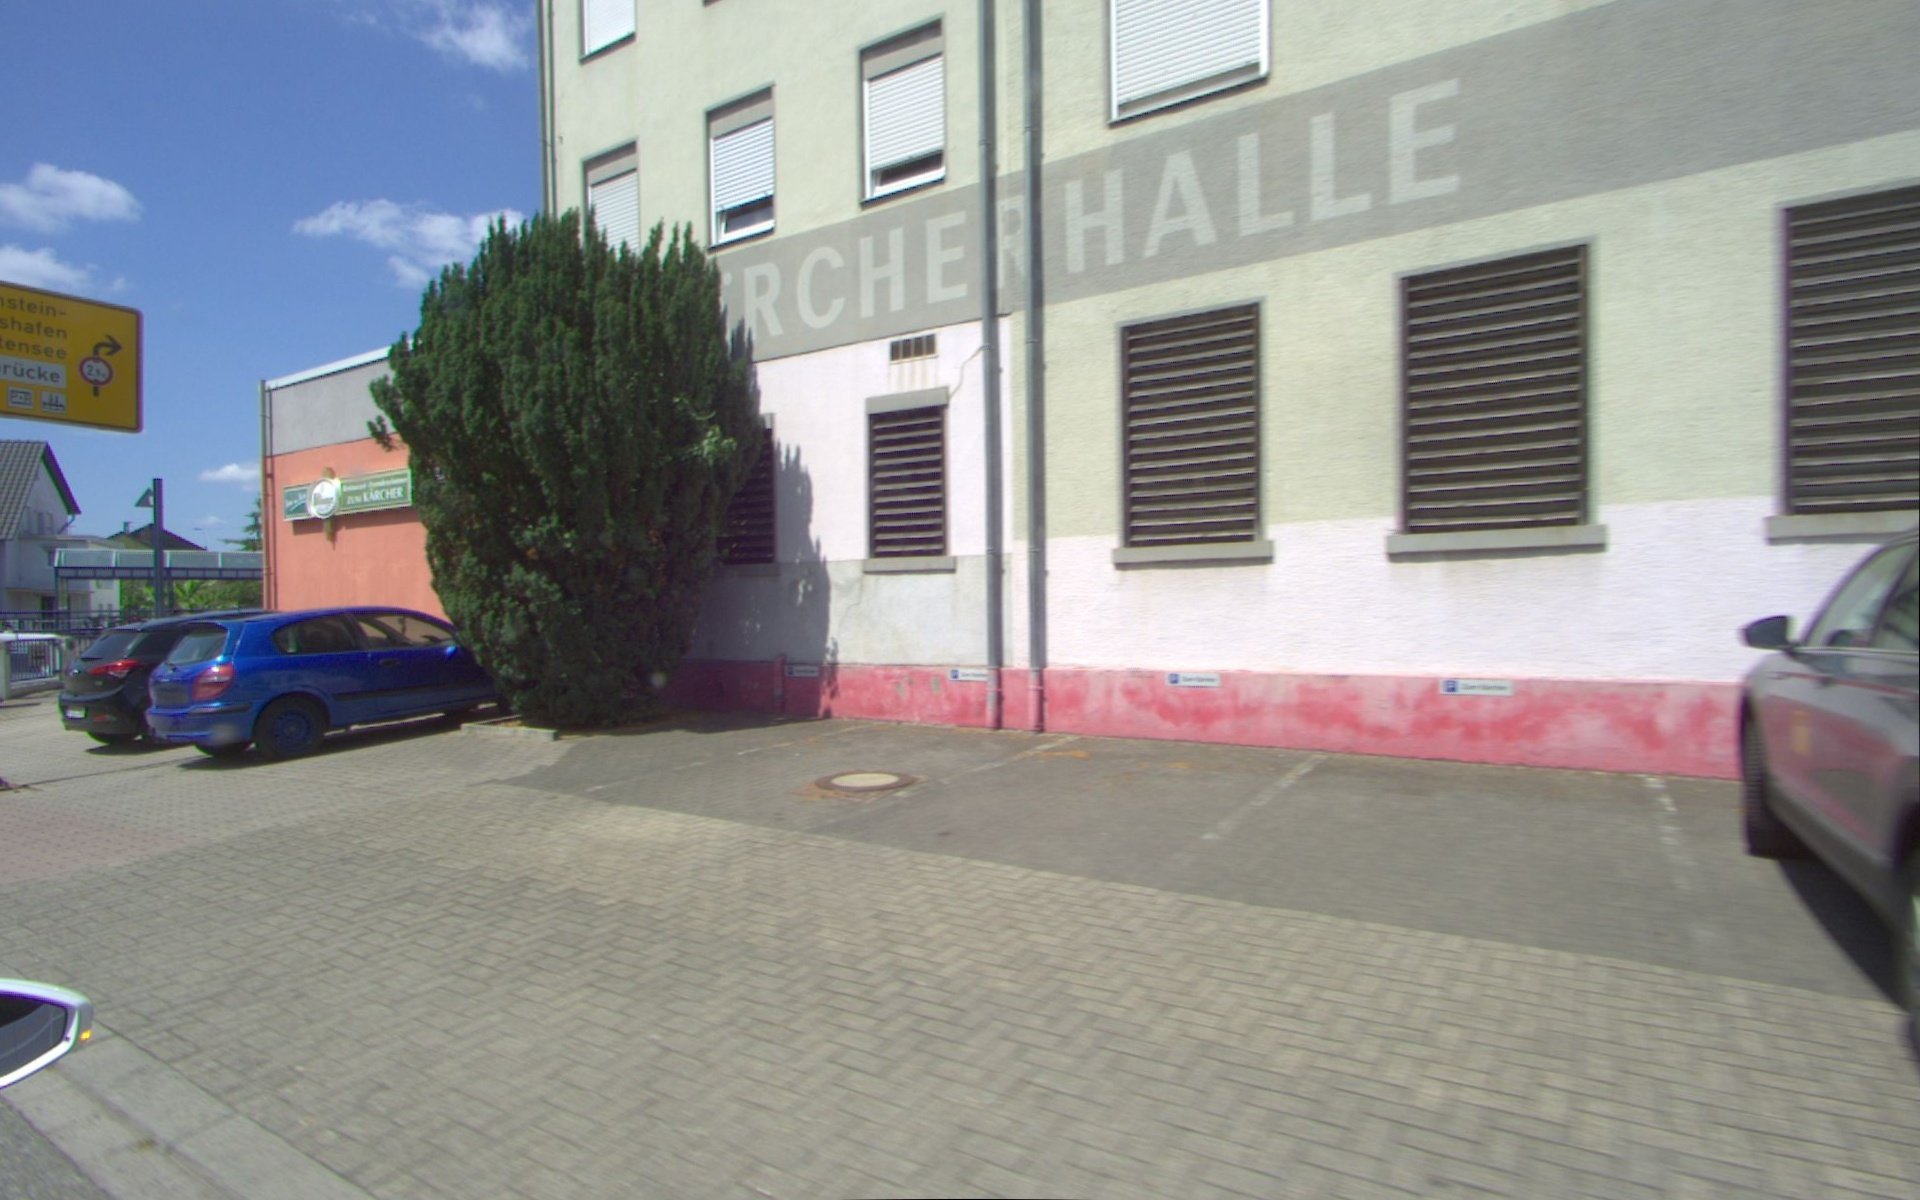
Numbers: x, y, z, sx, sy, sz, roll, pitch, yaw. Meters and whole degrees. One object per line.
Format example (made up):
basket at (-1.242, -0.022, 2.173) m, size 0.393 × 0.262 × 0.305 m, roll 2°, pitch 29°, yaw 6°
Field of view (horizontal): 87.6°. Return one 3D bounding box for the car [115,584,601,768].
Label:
car at (-6.476, 0.711, 11.331) m, size 1.755 × 1.459 × 4.311 m, roll -3°, pitch 2°, yaw 31°

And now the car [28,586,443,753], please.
car at (-9.192, 0.774, 13.061) m, size 1.784 × 1.511 × 3.884 m, roll -2°, pitch 4°, yaw 30°

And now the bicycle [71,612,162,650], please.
bicycle at (-25.621, 0.937, 30.470) m, size 2.096 × 1.140 × 0.389 m, roll 1°, pitch 0°, yaw -38°

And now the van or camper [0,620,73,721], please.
van or camper at (-27.148, 1.850, 26.437) m, size 5.331 × 2.662 × 1.991 m, roll 3°, pitch -5°, yaw -37°

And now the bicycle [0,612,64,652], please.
bicycle at (-27.433, 0.918, 29.073) m, size 2.096 × 1.140 × 0.330 m, roll 1°, pitch 0°, yaw -38°

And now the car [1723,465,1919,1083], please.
car at (4.095, 0.435, 3.351) m, size 1.894 × 1.720 × 4.444 m, roll 0°, pitch 2°, yaw 30°
